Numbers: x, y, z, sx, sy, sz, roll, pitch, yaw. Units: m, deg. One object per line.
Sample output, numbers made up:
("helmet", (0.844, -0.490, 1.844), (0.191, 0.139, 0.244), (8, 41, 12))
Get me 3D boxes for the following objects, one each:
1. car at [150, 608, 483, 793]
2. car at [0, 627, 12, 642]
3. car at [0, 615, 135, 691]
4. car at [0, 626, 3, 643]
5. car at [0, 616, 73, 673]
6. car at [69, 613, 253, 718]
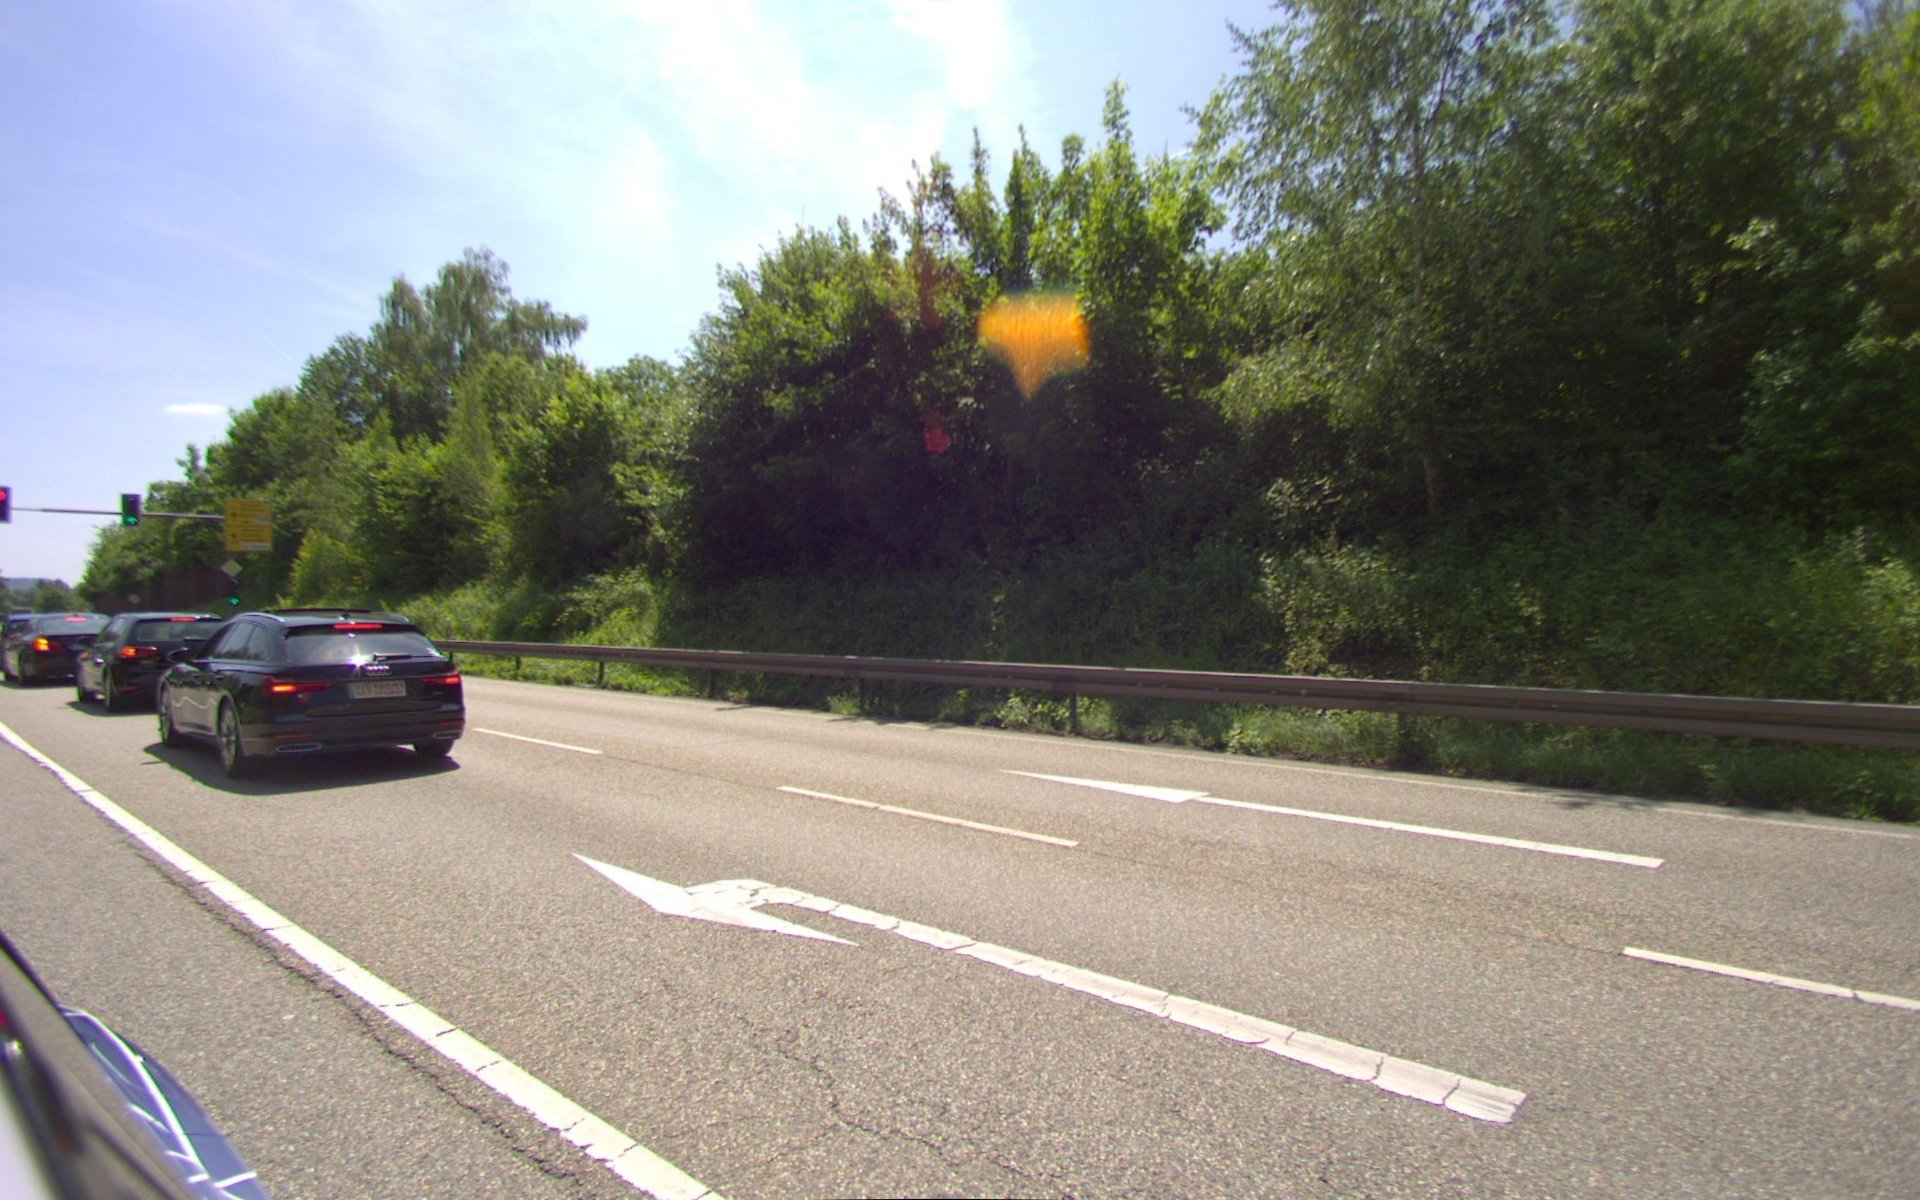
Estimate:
("car", (-6.643, 0.837, 10.232), (4.386, 1.464, 1.785), (-1, -1, 43))
("car", (-114.871, 4.124, 121.189), (1.970, 1.780, 4.004), (-1, 0, -43))
("car", (-19.368, 1.087, 21.773), (4.638, 1.458, 1.763), (-2, -1, 41))
("car", (-103.464, 3.717, 107.912), (1.970, 1.780, 4.004), (-1, 0, -43))
("car", (-25.605, 1.199, 27.768), (3.770, 1.451, 1.549), (-2, -1, 43))
("car", (-12.748, 0.951, 16.045), (4.181, 1.425, 1.663), (-1, -1, 43))
